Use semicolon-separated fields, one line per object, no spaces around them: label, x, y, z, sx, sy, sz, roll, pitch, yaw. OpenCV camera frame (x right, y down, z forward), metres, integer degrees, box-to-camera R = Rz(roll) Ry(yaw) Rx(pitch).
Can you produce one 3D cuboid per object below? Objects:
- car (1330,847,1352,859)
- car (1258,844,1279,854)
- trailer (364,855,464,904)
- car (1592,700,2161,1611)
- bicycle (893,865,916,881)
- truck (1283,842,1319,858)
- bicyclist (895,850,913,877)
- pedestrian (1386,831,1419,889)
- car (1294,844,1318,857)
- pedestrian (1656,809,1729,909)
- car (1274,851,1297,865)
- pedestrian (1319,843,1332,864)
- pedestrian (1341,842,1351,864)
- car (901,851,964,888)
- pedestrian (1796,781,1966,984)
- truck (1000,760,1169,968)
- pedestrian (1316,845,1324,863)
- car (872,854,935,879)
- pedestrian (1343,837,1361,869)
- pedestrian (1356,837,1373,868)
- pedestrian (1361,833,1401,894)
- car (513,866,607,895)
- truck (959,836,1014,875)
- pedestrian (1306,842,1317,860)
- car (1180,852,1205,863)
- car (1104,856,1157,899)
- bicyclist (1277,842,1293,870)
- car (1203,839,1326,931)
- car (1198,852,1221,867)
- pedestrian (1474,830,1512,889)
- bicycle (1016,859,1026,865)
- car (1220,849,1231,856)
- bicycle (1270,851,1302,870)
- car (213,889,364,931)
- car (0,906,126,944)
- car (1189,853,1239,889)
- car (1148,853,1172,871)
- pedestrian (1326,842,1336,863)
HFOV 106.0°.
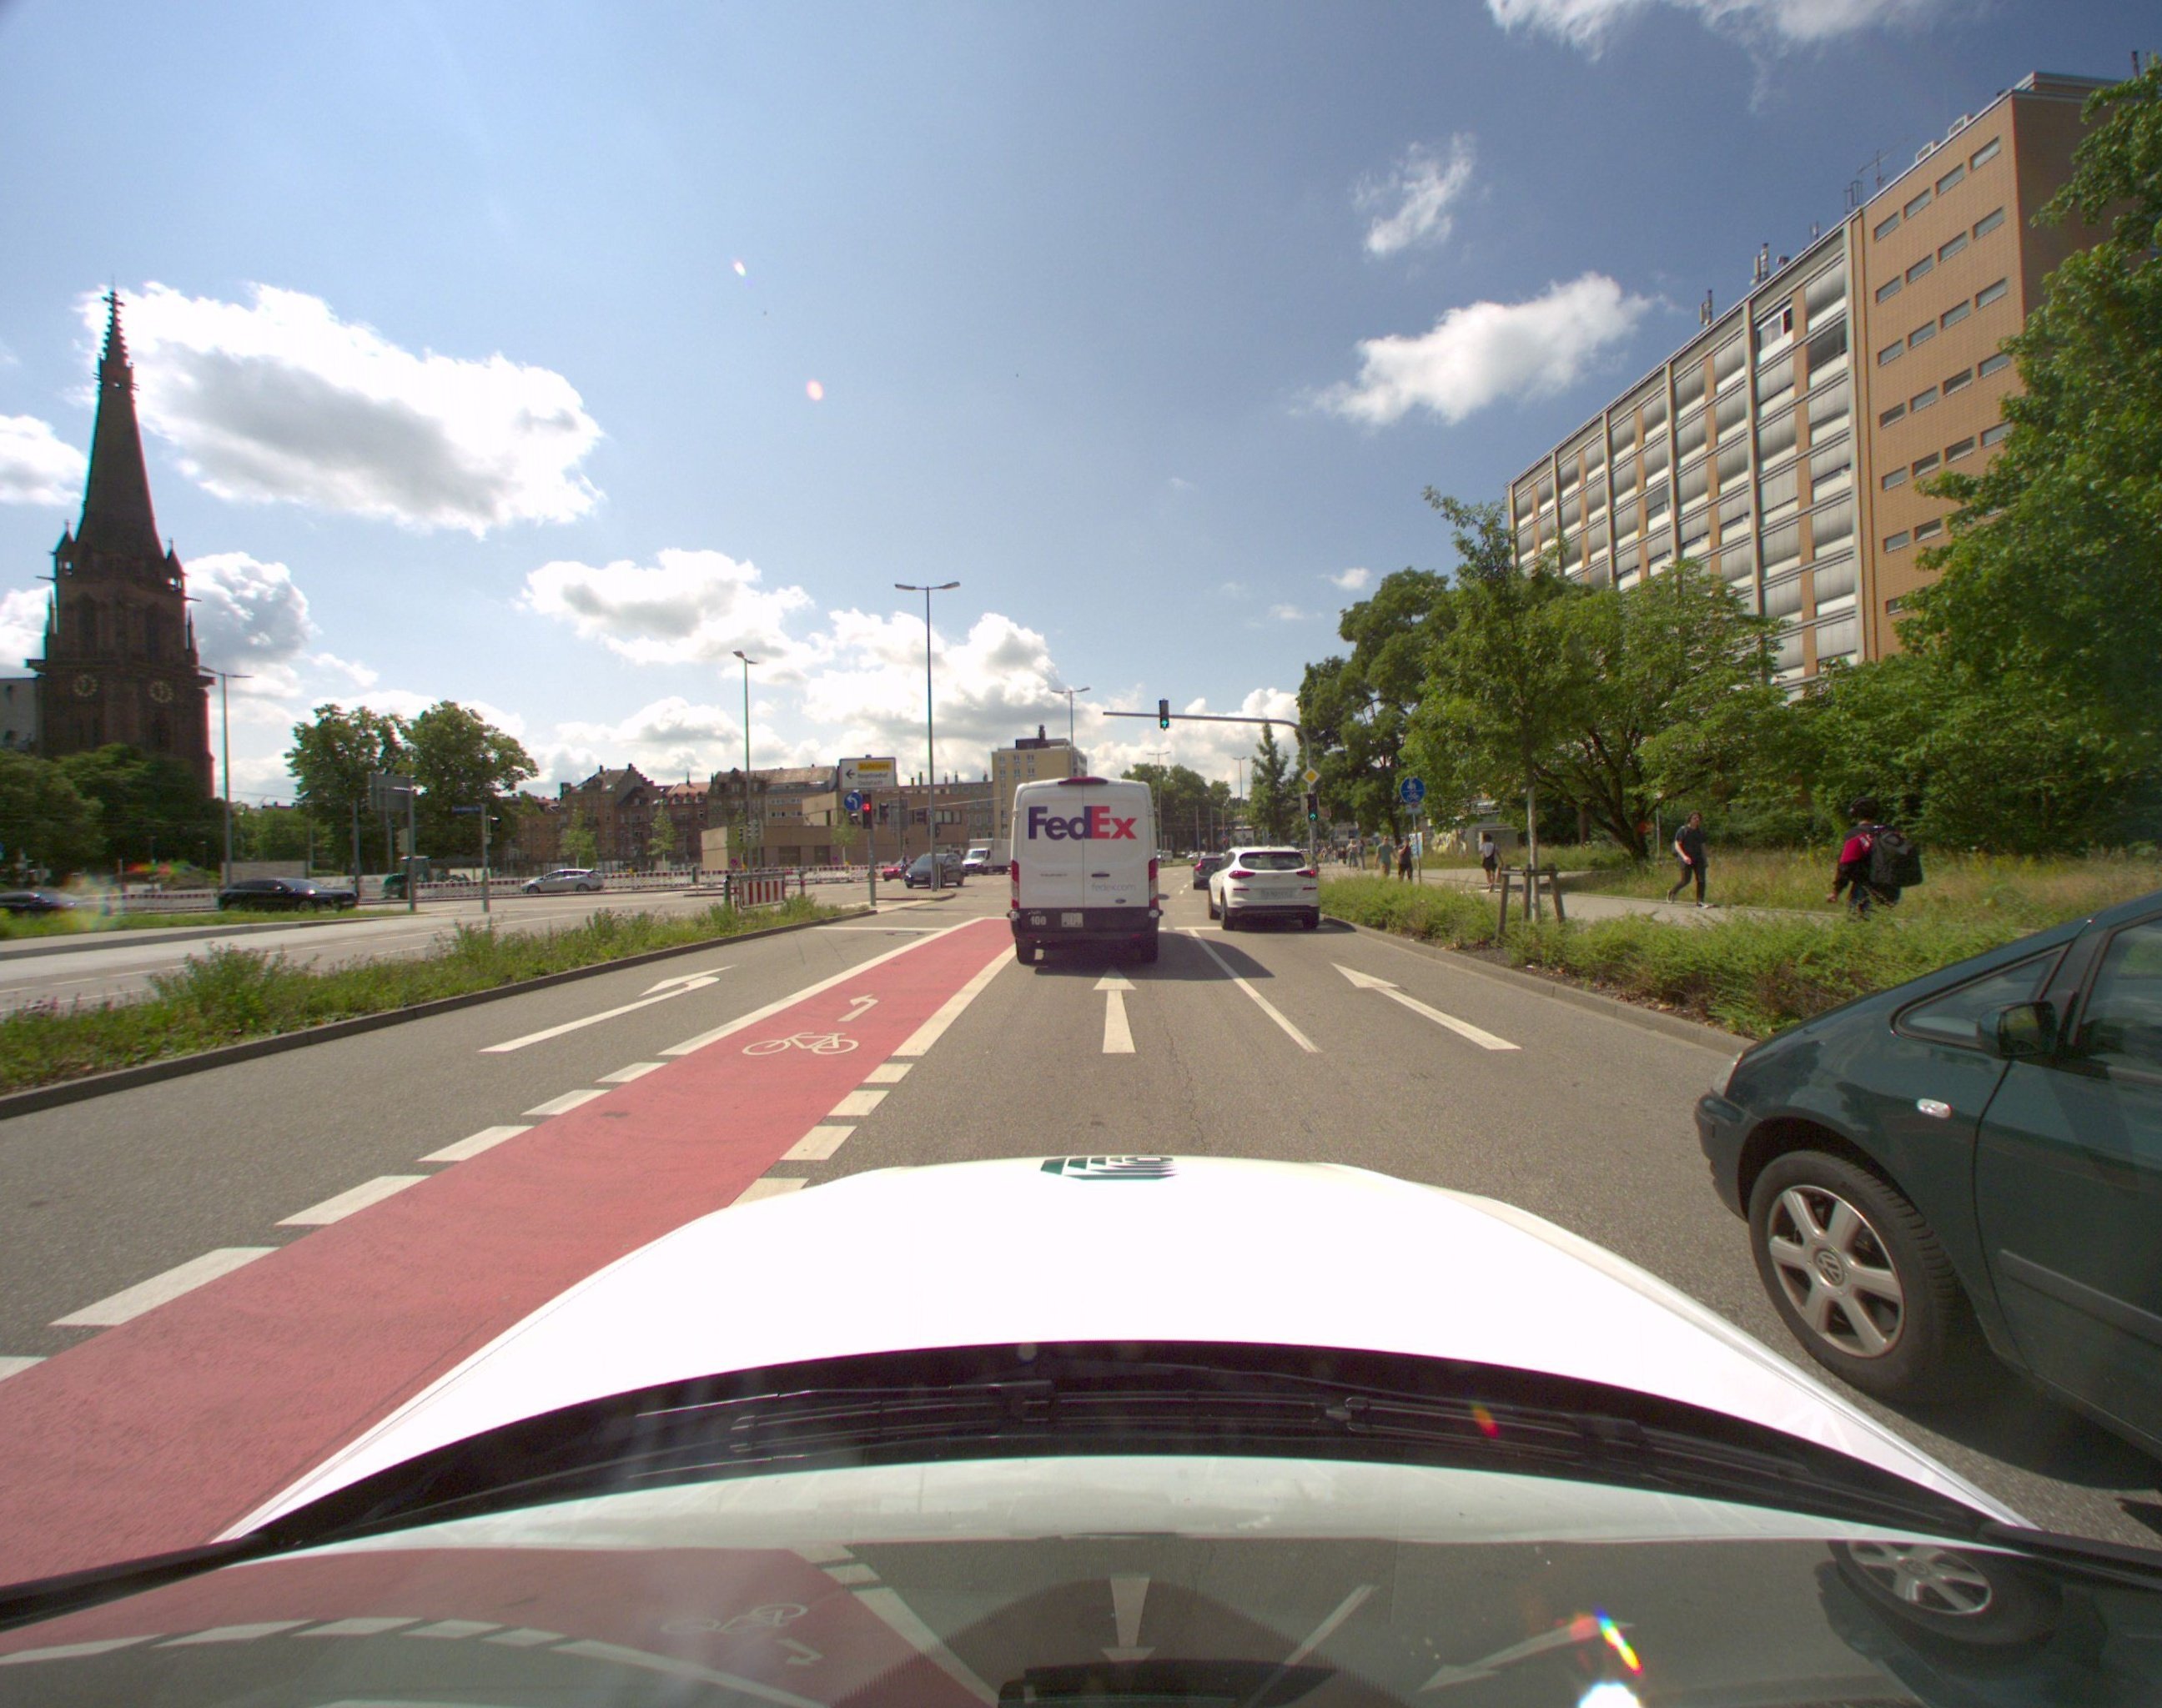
car;37.565;-0.119;117.606;1.863;1.641;3.982;-2;0;36
car;36.927;-0.906;160.085;1.702;1.800;4.768;-3;-1;45
trailer;-41.145;1.536;50.313;1.974;2.914;4.394;-1;-1;37
car;2.930;0.574;1.089;1.788;1.723;4.449;0;0;1
bicycle;-10.725;1.125;49.572;0.772;0.889;2.111;-2;0;4
truck;43.206;-0.859;159.584;2.858;2.852;8.846;-2;0;43
bicyclist;-10.751;0.583;49.501;0.772;1.618;0.844;-2;0;3
pedestrian;9.901;0.179;25.112;0.665;1.746;0.608;-3;0;-5
car;31.176;-0.509;112.810;1.863;1.641;3.982;-2;0;36
pedestrian;11.173;0.084;14.907;0.747;1.750;0.667;-3;0;0
car;25.138;0.461;100.099;1.863;1.641;3.981;-2;0;28
pedestrian;21.466;-0.047;71.465;0.753;1.821;0.781;-5;-1;3
pedestrian;22.499;-0.056;69.157;0.751;1.821;0.676;-1;-1;10
car;-7.118;0.708;39.458;1.872;1.623;4.162;-1;0;6
pedestrian;7.437;0.249;7.616;0.664;1.750;0.848;-3;0;0
truck;0.131;0.137;13.400;2.129;2.640;5.919;-1;0;2
pedestrian;21.641;-0.012;73.611;0.584;1.626;0.729;-1;-1;9
car;-12.126;0.838;55.755;1.974;1.486;3.930;-2;0;33
pedestrian;15.593;-0.040;46.864;0.745;1.802;0.611;-3;0;7
pedestrian;16.417;-0.074;47.171;0.745;1.752;0.611;-3;0;7
pedestrian;9.196;0.291;24.987;0.748;1.777;0.880;-3;0;-5
car;-29.268;1.455;45.907;4.010;1.508;1.990;0;-1;-15
truck;-7.880;0.142;68.711;1.979;3.067;7.360;-1;-1;15
pedestrian;21.042;-0.252;74.341;0.753;1.589;0.762;-1;-1;3
car;19.390;0.576;141.842;4.045;1.925;1.816;-1;-1;13
car;1.834;0.805;29.745;1.733;1.391;4.184;-2;0;4
bicyclist;12.455;0.118;49.734;0.823;1.601;0.581;-5;-2;7
car;3.729;0.570;17.292;1.873;1.641;4.237;-2;0;4
car;13.273;0.550;84.048;1.867;1.506;4.173;-1;0;16
pedestrian;11.430;0.150;22.604;0.664;1.596;0.648;-3;0;0
bicycle;-12.021;1.630;162.166;1.927;1.147;0.529;-1;-1;13
car;36.225;-0.334;204.284;1.976;1.574;4.200;-1;-1;22
bicycle;12.515;0.401;49.720;1.799;1.050;0.593;-5;-2;7
car;-34.039;2.367;35.081;4.481;1.486;2.000;-2;0;0
car;-49.177;3.410;38.811;4.645;1.486;1.997;-2;0;-4
car;5.818;0.721;35.919;1.905;1.420;3.925;-2;0;6
car;9.588;0.972;99.098;1.977;2.014;4.142;-1;-1;18
pedestrian;22.510;-0.123;73.411;0.751;1.821;0.639;-1;-1;9
